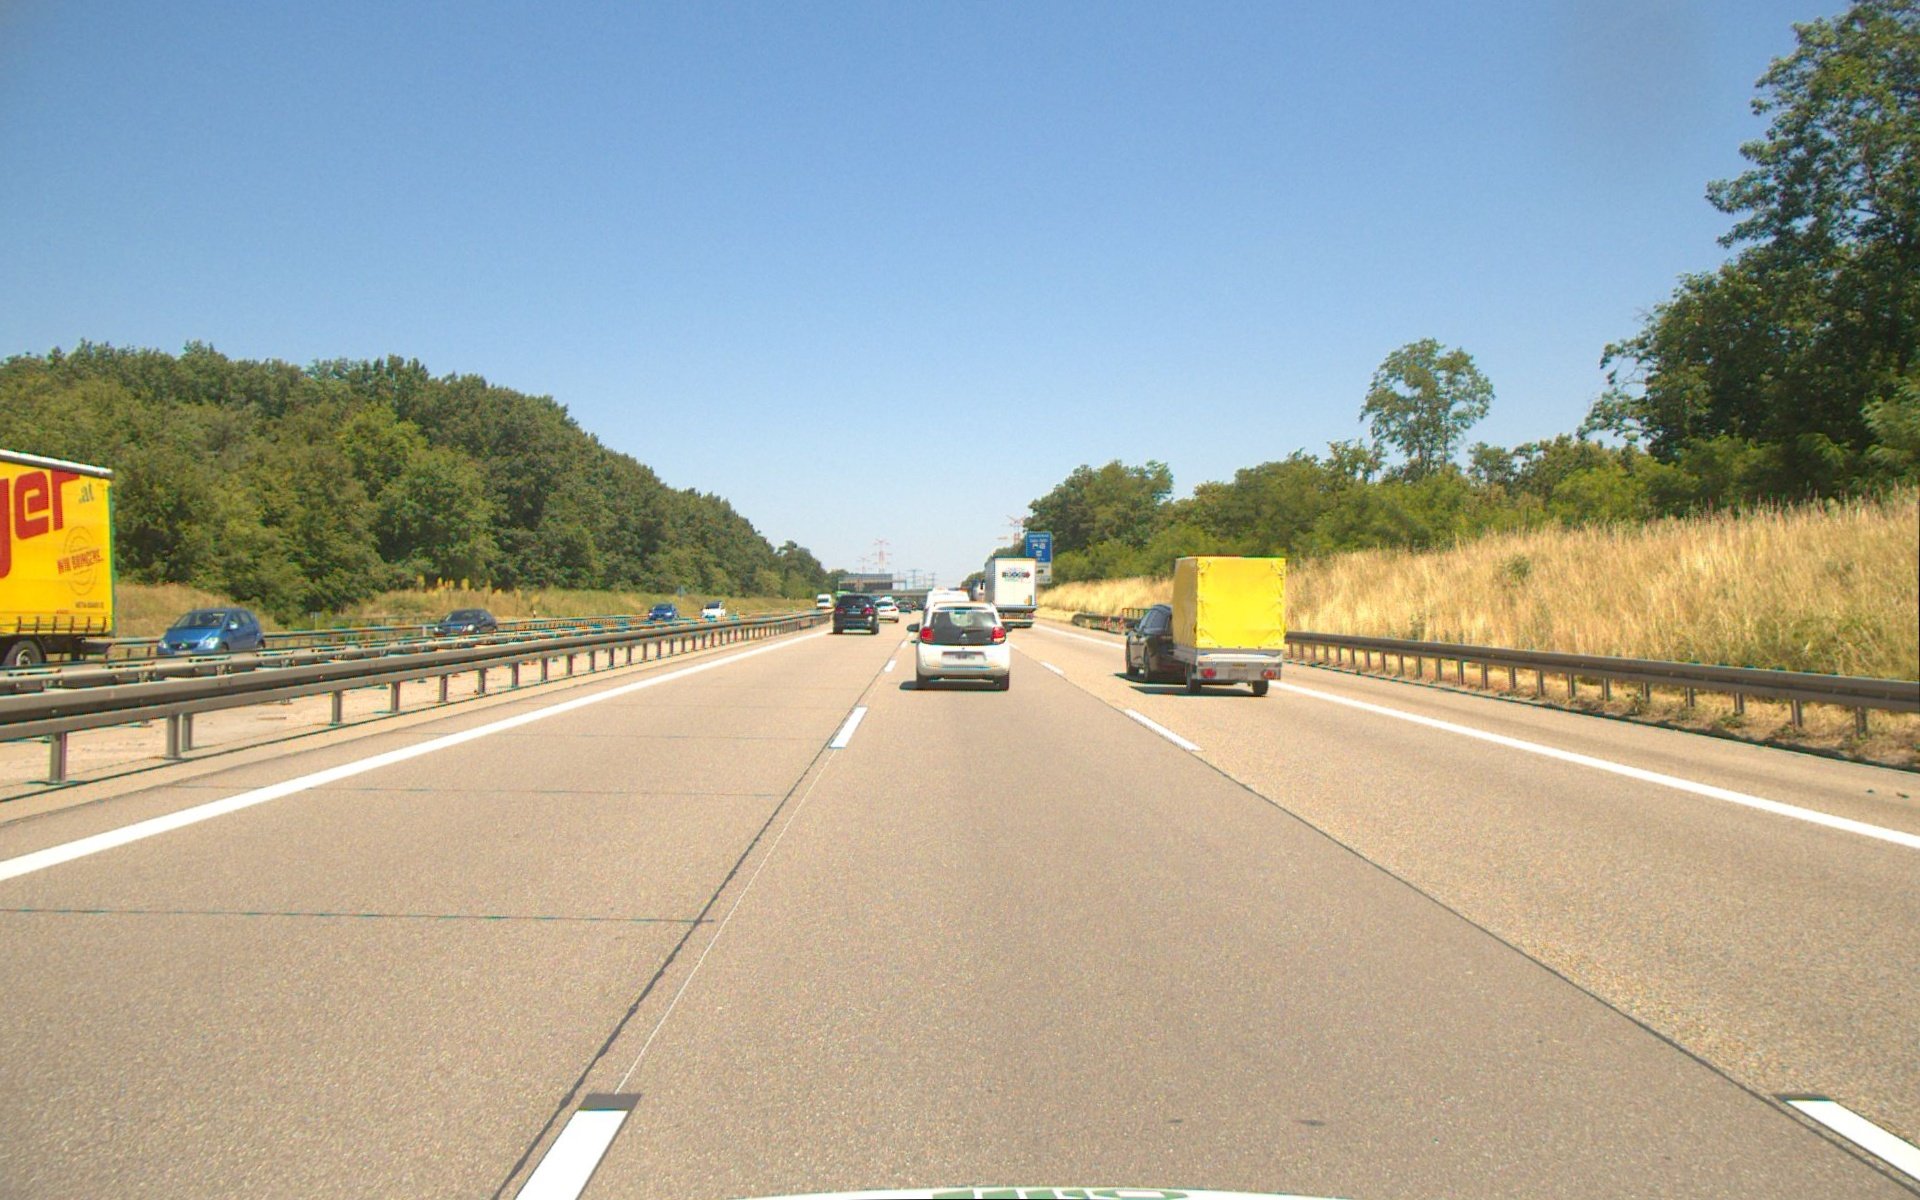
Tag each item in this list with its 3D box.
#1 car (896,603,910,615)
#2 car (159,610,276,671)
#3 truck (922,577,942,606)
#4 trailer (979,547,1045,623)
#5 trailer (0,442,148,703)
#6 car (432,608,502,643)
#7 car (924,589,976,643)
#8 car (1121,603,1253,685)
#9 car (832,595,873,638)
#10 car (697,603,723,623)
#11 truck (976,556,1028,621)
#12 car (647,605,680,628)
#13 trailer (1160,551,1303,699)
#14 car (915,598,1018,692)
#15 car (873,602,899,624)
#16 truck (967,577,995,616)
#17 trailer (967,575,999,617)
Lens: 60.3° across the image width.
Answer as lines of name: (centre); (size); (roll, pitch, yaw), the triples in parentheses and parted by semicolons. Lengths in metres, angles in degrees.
car: (-6.690, 1.072, 195.396); (1.574, 1.323, 3.673); (1, 0, -1)
car: (-21.194, 1.110, 47.392); (1.493, 1.566, 4.109); (-3, 0, -1)
truck: (-2.960, -0.904, 175.082); (2.018, 2.965, 7.001); (0, 0, -1)
trailer: (3.071, -0.801, 101.544); (3.219, 4.293, 13.560); (1, 0, -1)
trailer: (-16.372, -0.386, 23.803); (2.414, 4.143, 14.275); (-3, 0, -1)
car: (-21.665, 1.103, 72.893); (1.641, 1.389, 4.888); (-3, 0, -1)
car: (-0.403, 0.569, 59.910); (1.777, 1.859, 5.109); (0, 0, -1)
car: (4.387, 0.811, 32.672); (1.784, 1.481, 4.786); (1, 0, -2)
car: (-4.650, 0.694, 72.003); (1.593, 1.785, 3.804); (1, 0, -1)
car: (-22.976, 1.216, 152.283); (1.667, 1.690, 5.115); (-3, 0, -1)
truck: (2.834, -0.776, 113.847); (3.219, 4.293, 6.005); (1, -1, -2)
car: (-22.085, 1.191, 123.474); (1.667, 1.572, 4.534); (-3, 0, -1)
trailer: (4.569, 0.405, 28.353); (1.669, 2.330, 3.838); (1, 0, -2)
car: (0.079, 0.737, 29.151); (1.673, 1.521, 4.023); (1, 0, -1)
car: (-4.866, 0.837, 108.761); (1.635, 1.426, 3.711); (0, 0, -2)
truck: (2.085, -0.330, 169.305); (2.628, 3.904, 4.442); (1, -1, -2)
trailer: (2.214, -0.342, 163.614); (2.628, 3.904, 12.006); (1, 0, -1)
